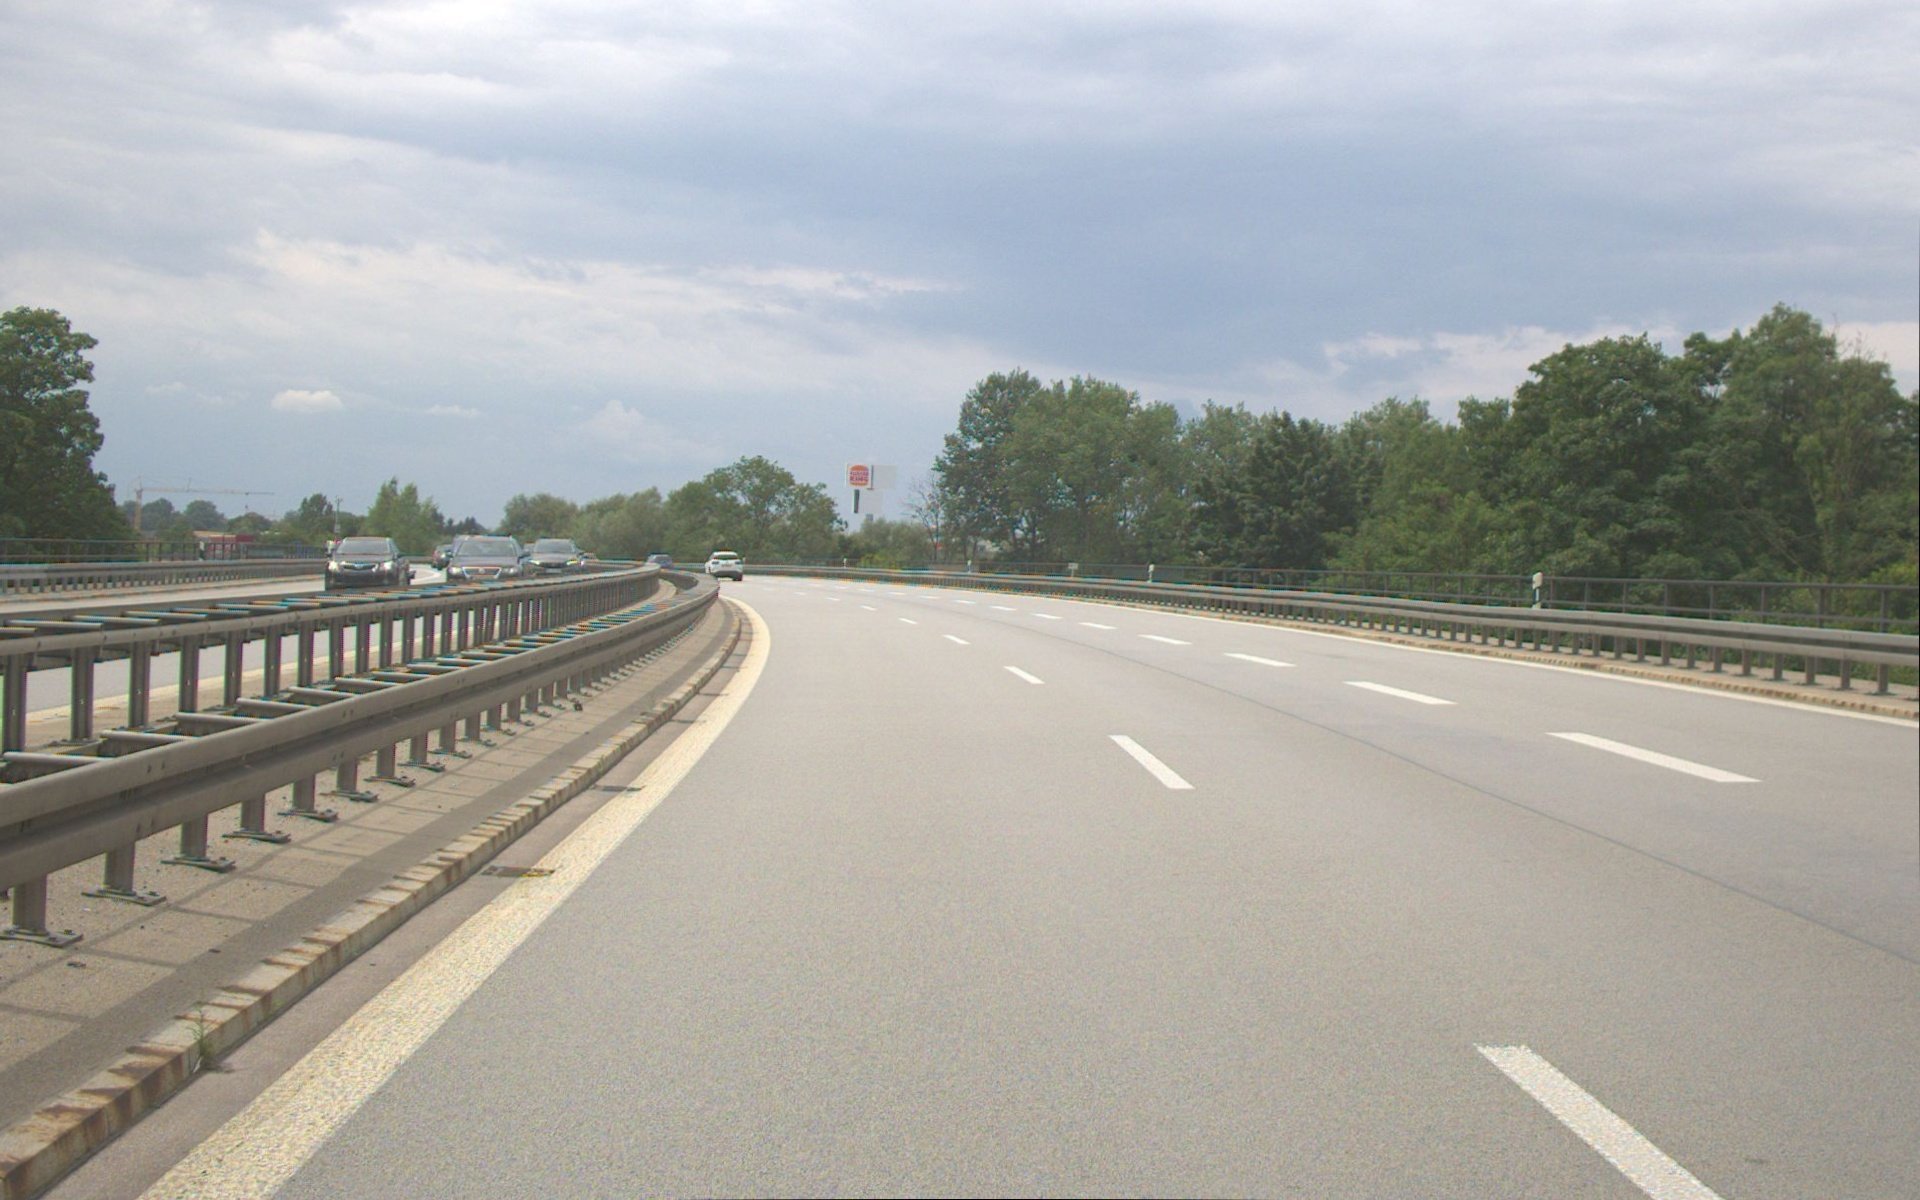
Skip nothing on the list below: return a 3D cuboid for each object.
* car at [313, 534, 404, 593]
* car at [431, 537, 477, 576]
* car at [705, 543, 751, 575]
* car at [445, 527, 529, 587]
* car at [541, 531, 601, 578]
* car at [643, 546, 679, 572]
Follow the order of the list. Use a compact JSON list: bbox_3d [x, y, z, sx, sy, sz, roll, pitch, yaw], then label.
[{"bbox_3d":[-15.449,-0.953,88.451,1.737,1.405,4.943,2,1,-4],"label":"car"},{"bbox_3d":[-20.675,-1.783,140.565,1.650,1.536,4.001,2,1,-6],"label":"car"},{"bbox_3d":[-13.112,-2.322,194.139,1.902,1.634,4.397,2,2,-12],"label":"car"},{"bbox_3d":[-11.219,-1.037,81.798,1.651,1.362,4.149,1,1,-4],"label":"car"},{"bbox_3d":[-12.757,-1.506,112.920,1.691,1.432,4.111,1,1,-3],"label":"car"},{"bbox_3d":[-20.557,-2.830,236.184,1.892,1.634,4.623,0,2,-13],"label":"car"}]
